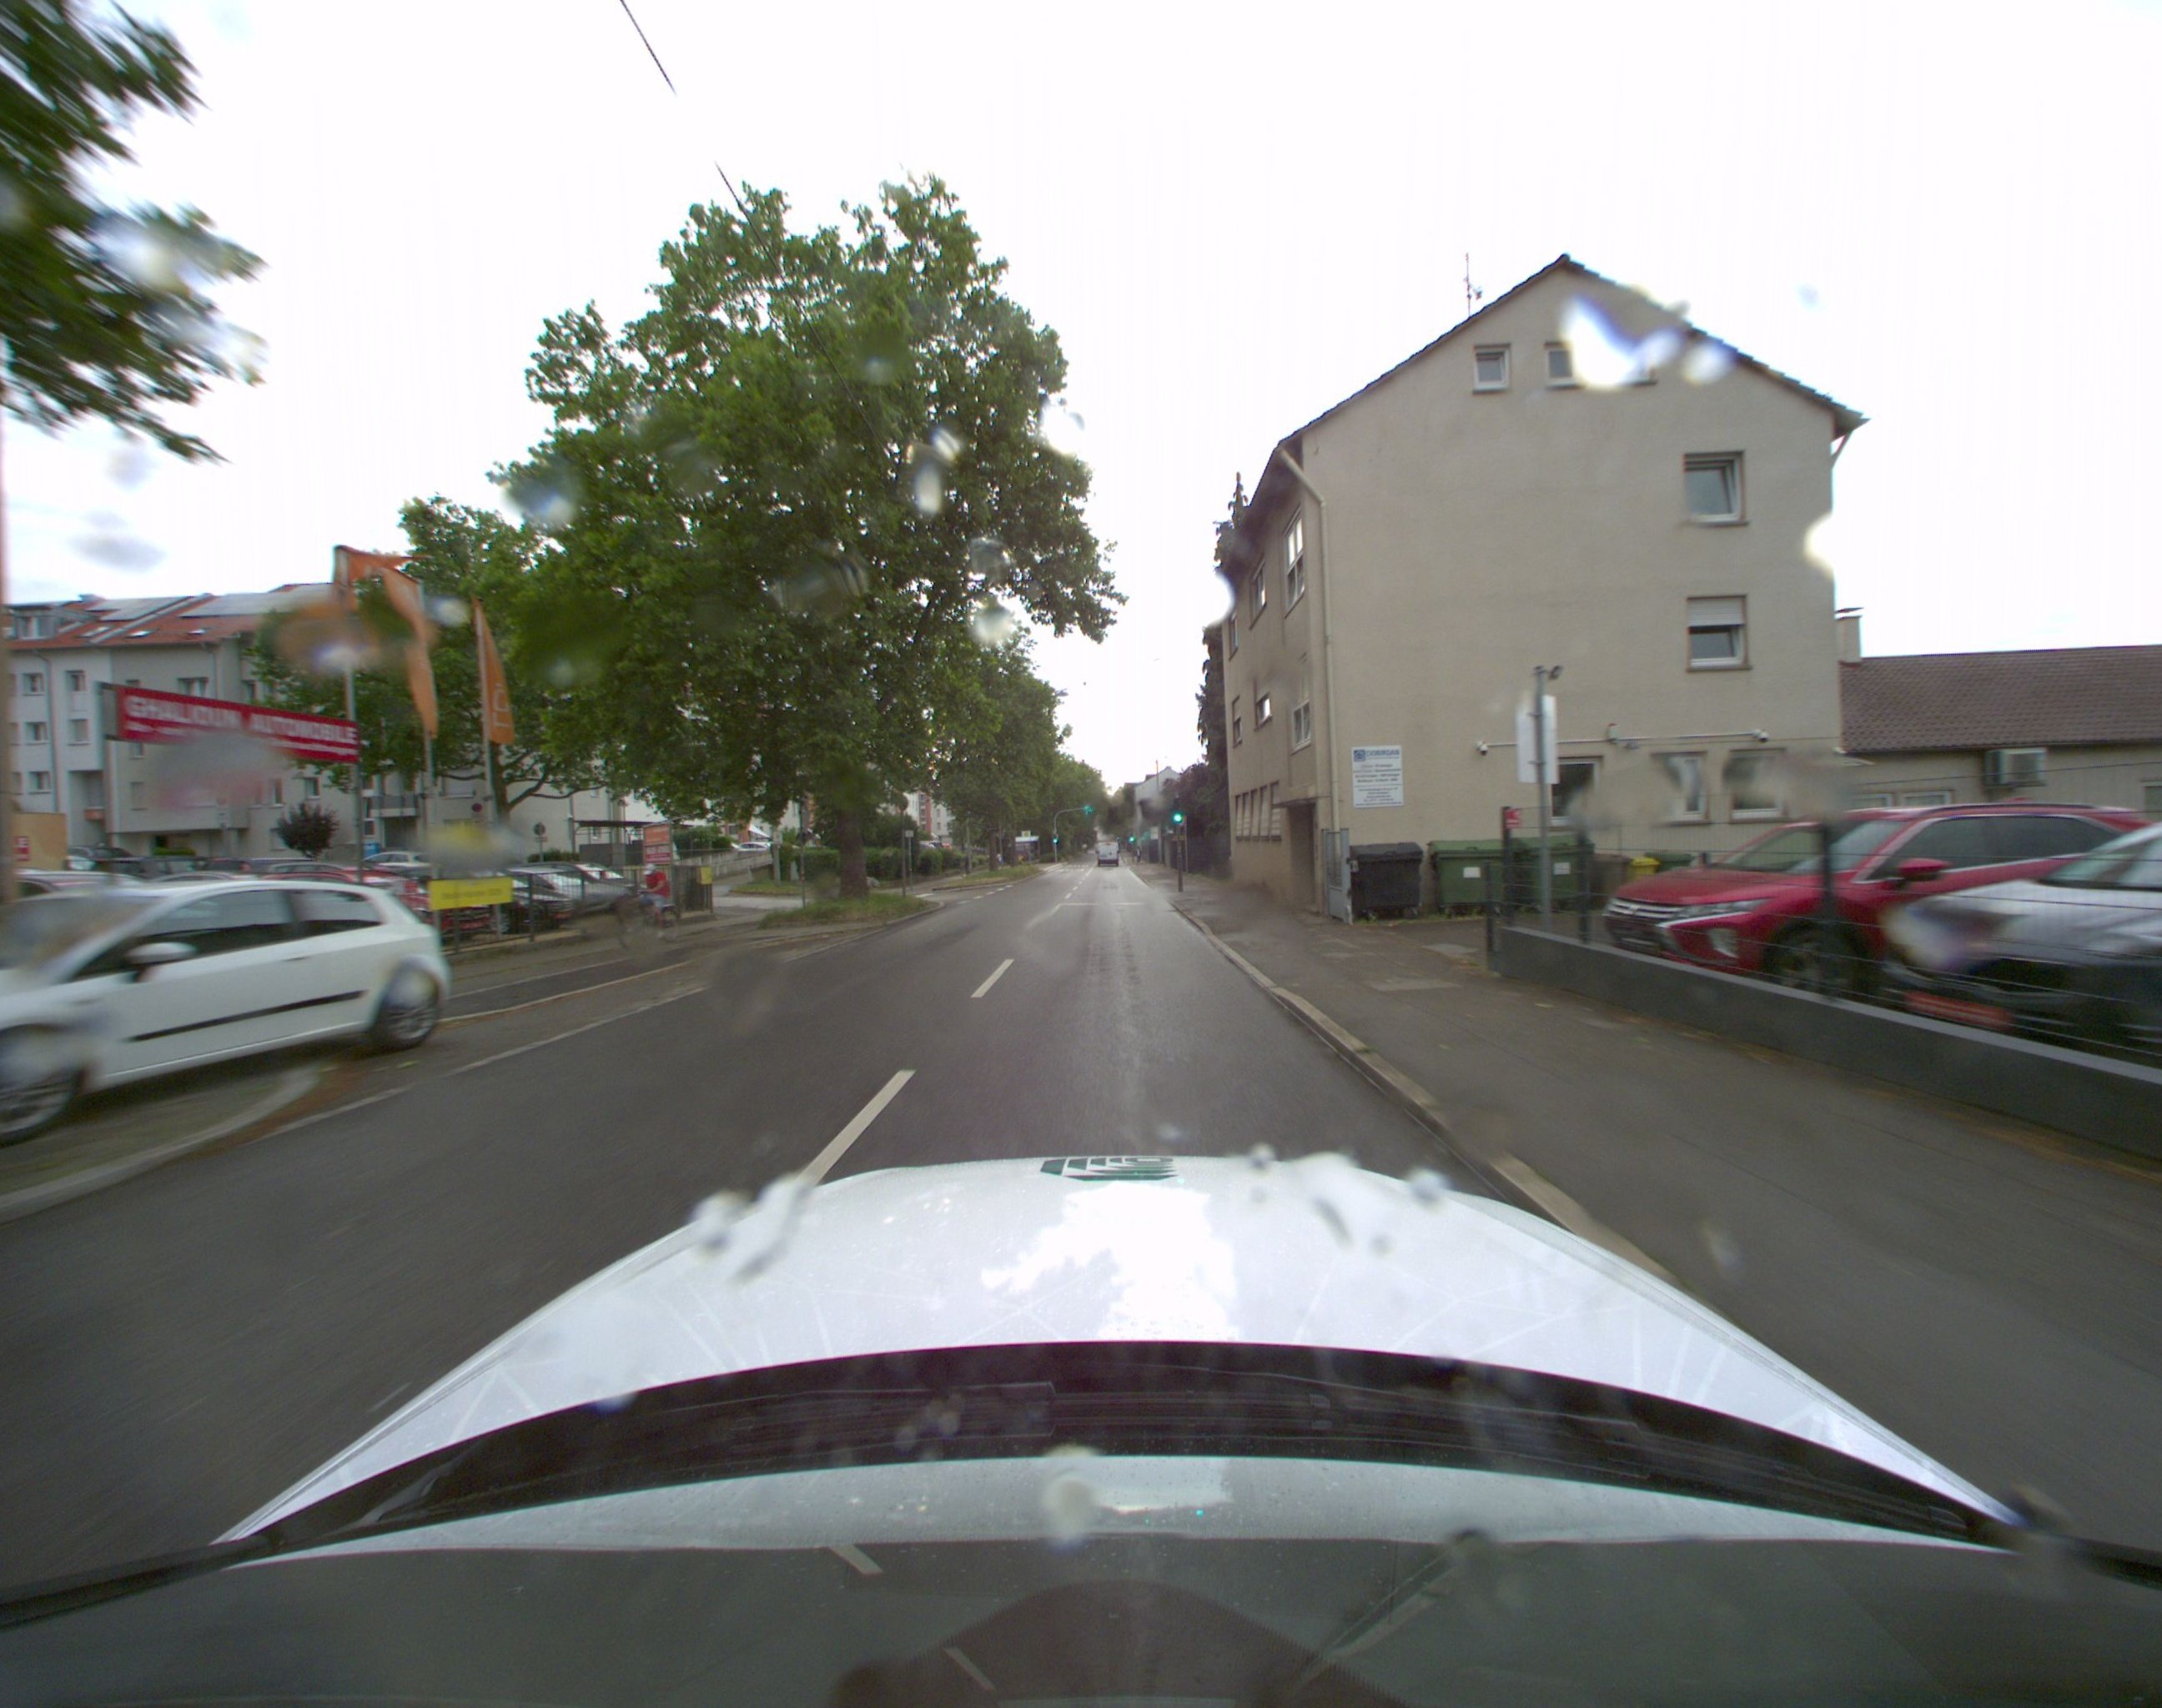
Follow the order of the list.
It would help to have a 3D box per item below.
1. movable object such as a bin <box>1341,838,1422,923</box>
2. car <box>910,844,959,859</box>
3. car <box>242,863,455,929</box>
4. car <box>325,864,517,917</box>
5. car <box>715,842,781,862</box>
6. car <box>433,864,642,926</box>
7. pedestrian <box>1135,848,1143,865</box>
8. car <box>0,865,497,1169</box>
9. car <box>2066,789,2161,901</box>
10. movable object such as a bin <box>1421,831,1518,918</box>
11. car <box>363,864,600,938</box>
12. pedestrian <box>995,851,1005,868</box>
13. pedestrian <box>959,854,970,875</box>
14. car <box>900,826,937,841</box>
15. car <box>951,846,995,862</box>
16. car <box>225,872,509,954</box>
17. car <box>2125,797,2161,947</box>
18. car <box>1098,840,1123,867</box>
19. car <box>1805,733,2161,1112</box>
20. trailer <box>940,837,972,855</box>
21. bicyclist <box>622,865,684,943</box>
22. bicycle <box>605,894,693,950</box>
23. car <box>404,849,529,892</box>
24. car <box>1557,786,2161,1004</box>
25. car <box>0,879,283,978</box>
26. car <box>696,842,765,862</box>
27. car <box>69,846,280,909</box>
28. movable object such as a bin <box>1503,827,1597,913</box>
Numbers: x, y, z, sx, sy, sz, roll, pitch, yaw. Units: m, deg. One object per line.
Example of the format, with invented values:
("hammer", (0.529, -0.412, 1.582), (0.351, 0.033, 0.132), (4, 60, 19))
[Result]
("movable object such as a bin", (5.739, 0.497, 15.617), (1.106, 1.509, 0.987), (-4, -1, 1))
("car", (-13.412, -0.214, 74.689), (4.073, 1.303, 1.810), (0, -1, 1))
("car", (-19.844, 1.108, 22.204), (3.974, 1.653, 2.000), (-1, -1, 0))
("car", (-19.949, 1.086, 24.758), (4.153, 1.497, 2.000), (-1, -1, 0))
("car", (-23.907, -0.134, 58.575), (3.969, 1.415, 1.850), (0, -1, 4))
("car", (-14.349, 1.059, 21.703), (4.193, 1.539, 1.982), (0, -1, 0))
("pedestrian", (5.909, 0.277, 83.316), (0.741, 1.704, 0.900), (0, -1, -4))
("car", (-6.677, 0.924, 5.806), (1.779, 1.551, 4.353), (-1, 0, 1))
("car", (17.429, -0.138, 11.594), (3.954, 1.593, 1.830), (-1, -1, 19))
("movable object such as a bin", (7.338, 0.386, 15.464), (1.229, 1.509, 1.111), (-4, -1, 1))
("car", (-14.054, 1.072, 19.258), (4.187, 1.538, 2.003), (-1, 0, 5))
("pedestrian", (-7.999, 0.575, 80.051), (0.738, 1.598, 0.607), (-5, -2, 5))
("pedestrian", (-8.762, 0.805, 61.263), (0.753, 1.611, 0.834), (0, -1, -3))
("car", (-18.919, -2.335, 95.006), (3.840, 1.602, 1.699), (0, -1, -37))
("car", (-11.958, 0.000, 90.406), (4.529, 1.672, 2.000), (0, -1, 0))
("car", (-14.290, 1.146, 16.469), (4.080, 1.498, 1.960), (0, 0, 3))
("car", (11.908, 0.148, 6.782), (1.801, 1.530, 3.628), (0, -1, 1))
("car", (2.846, -0.021, 79.138), (2.274, 2.553, 4.002), (-2, -1, 2))
("car", (7.079, 0.311, 4.628), (4.212, 1.736, 1.870), (0, -1, 1))
("trailer", (-11.795, -0.725, 76.723), (2.693, 1.645, 1.481), (-1, 0, 2))
("bicyclist", (-8.743, 1.006, 16.668), (0.830, 1.553, 0.817), (0, -1, 1))
("bicycle", (-8.732, 1.342, 16.577), (0.552, 0.996, 2.265), (0, -1, 0))
("car", (-26.804, 0.727, 35.620), (3.972, 1.779, 1.880), (1, -1, 1))
("car", (7.036, 0.346, 7.494), (4.212, 1.736, 1.870), (0, -1, 1))
("car", (-16.299, 1.187, 13.698), (3.969, 1.464, 1.888), (0, 0, 3))
("car", (-24.252, -0.125, 56.418), (3.969, 1.318, 1.746), (0, -1, 4))
("car", (-25.586, 0.670, 23.082), (3.969, 1.684, 1.888), (0, -1, 3))
("movable object such as a bin", (8.878, 0.305, 15.475), (1.106, 1.509, 1.010), (-4, -1, 1))
